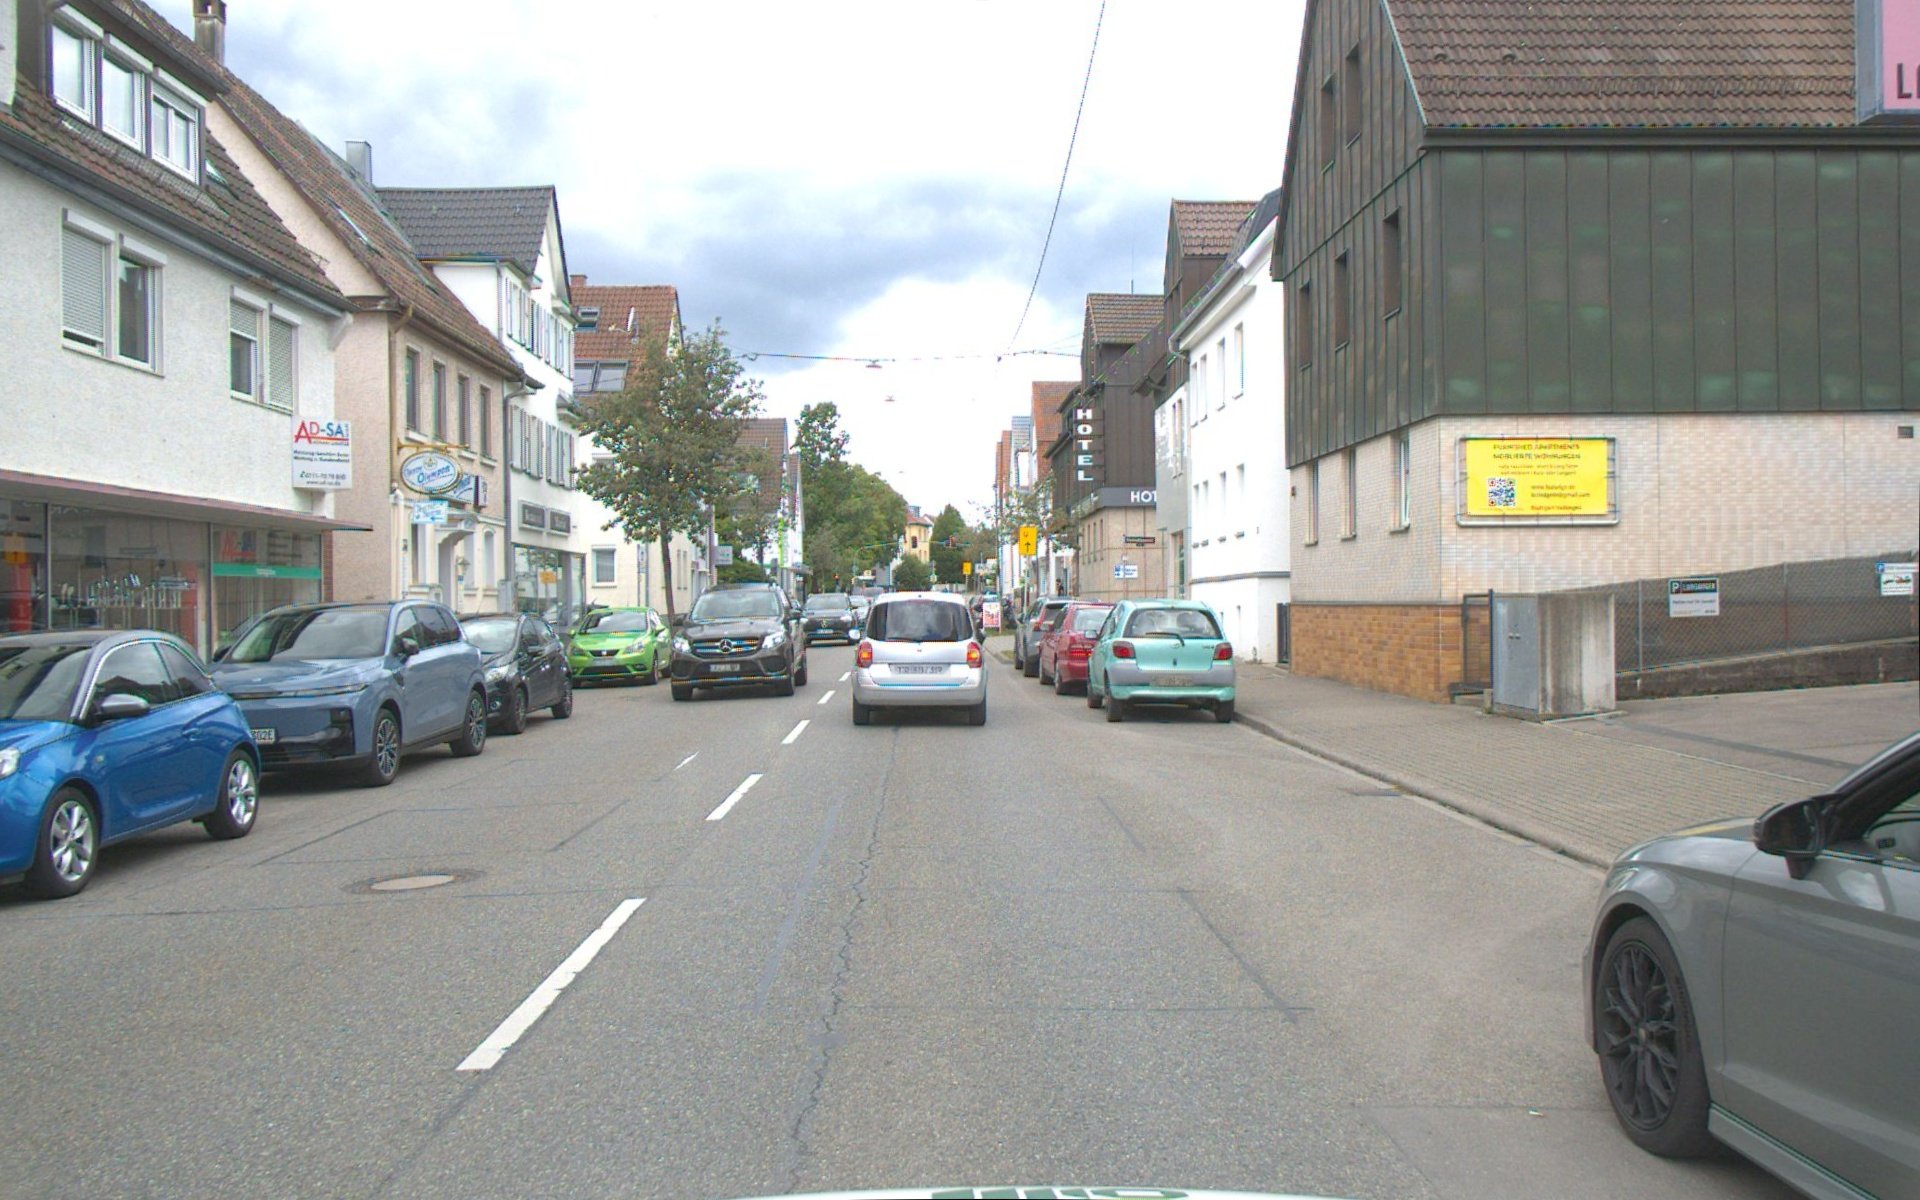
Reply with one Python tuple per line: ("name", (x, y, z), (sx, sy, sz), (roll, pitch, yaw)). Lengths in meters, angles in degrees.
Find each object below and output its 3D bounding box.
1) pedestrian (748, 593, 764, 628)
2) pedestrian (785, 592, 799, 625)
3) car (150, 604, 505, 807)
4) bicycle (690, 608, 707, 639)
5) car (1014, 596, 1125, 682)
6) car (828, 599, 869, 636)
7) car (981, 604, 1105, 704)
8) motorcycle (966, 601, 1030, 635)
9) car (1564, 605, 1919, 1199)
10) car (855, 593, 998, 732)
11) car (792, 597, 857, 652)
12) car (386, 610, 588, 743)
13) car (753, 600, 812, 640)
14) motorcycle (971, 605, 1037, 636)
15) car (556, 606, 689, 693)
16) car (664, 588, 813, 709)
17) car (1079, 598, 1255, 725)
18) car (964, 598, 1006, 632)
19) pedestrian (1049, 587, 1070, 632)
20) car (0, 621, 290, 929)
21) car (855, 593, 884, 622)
("pedestrian", (-10.435, 0.535, 84.627), (0.747, 1.823, 0.889), (0, 0, -2))
("pedestrian", (-9.813, 0.515, 96.601), (0.746, 1.909, 0.695), (0, 0, -2))
("car", (-5.860, 0.880, 15.932), (1.766, 1.627, 4.303), (-2, 0, -1))
("bicycle", (-10.009, 0.884, 63.361), (0.504, 1.174, 1.665), (0, 0, -4))
("car", (2.088, 0.725, 32.713), (1.837, 1.566, 4.511), (0, 0, -1))
("car", (-4.782, 0.725, 71.080), (1.649, 1.473, 4.017), (-2, 0, -4))
("car", (1.272, 0.814, 26.980), (1.719, 1.471, 4.454), (1, 0, -1))
("motorcycle", (1.548, 0.744, 66.925), (2.681, 1.359, 0.692), (1, 0, -32))
("car", (2.868, 0.762, 3.130), (1.794, 1.471, 4.107), (1, 0, -3))
("car", (-0.409, 0.732, 21.259), (1.648, 1.593, 3.992), (1, 0, -1))
("car", (-4.228, 0.740, 52.135), (1.758, 1.606, 4.191), (-2, 0, -1))
("car", (-5.972, 0.915, 21.299), (1.549, 1.534, 3.811), (0, 0, -1))
("car", (-7.157, 0.803, 67.225), (1.909, 1.493, 4.515), (-3, 0, -1))
("motorcycle", (1.744, 0.821, 65.884), (2.701, 1.204, 0.692), (1, 0, -32))
("car", (-6.351, 0.886, 31.517), (1.648, 1.473, 4.020), (-2, 0, 0))
("car", (-3.530, 0.733, 27.108), (1.862, 1.768, 4.365), (-2, 0, -1))
("car", (2.662, 0.748, 22.089), (1.794, 1.524, 3.992), (1, 0, -1))
("car", (1.102, 0.658, 74.874), (1.666, 1.493, 4.237), (0, 0, -2))
("pedestrian", (4.387, 0.435, 73.099), (0.839, 1.961, 0.899), (0, 0, -1))
("car", (-5.757, 0.944, 10.278), (1.648, 1.525, 3.774), (-2, 0, -1))
("car", (-6.469, 0.525, 118.293), (1.913, 2.049, 3.999), (0, 0, -2))
